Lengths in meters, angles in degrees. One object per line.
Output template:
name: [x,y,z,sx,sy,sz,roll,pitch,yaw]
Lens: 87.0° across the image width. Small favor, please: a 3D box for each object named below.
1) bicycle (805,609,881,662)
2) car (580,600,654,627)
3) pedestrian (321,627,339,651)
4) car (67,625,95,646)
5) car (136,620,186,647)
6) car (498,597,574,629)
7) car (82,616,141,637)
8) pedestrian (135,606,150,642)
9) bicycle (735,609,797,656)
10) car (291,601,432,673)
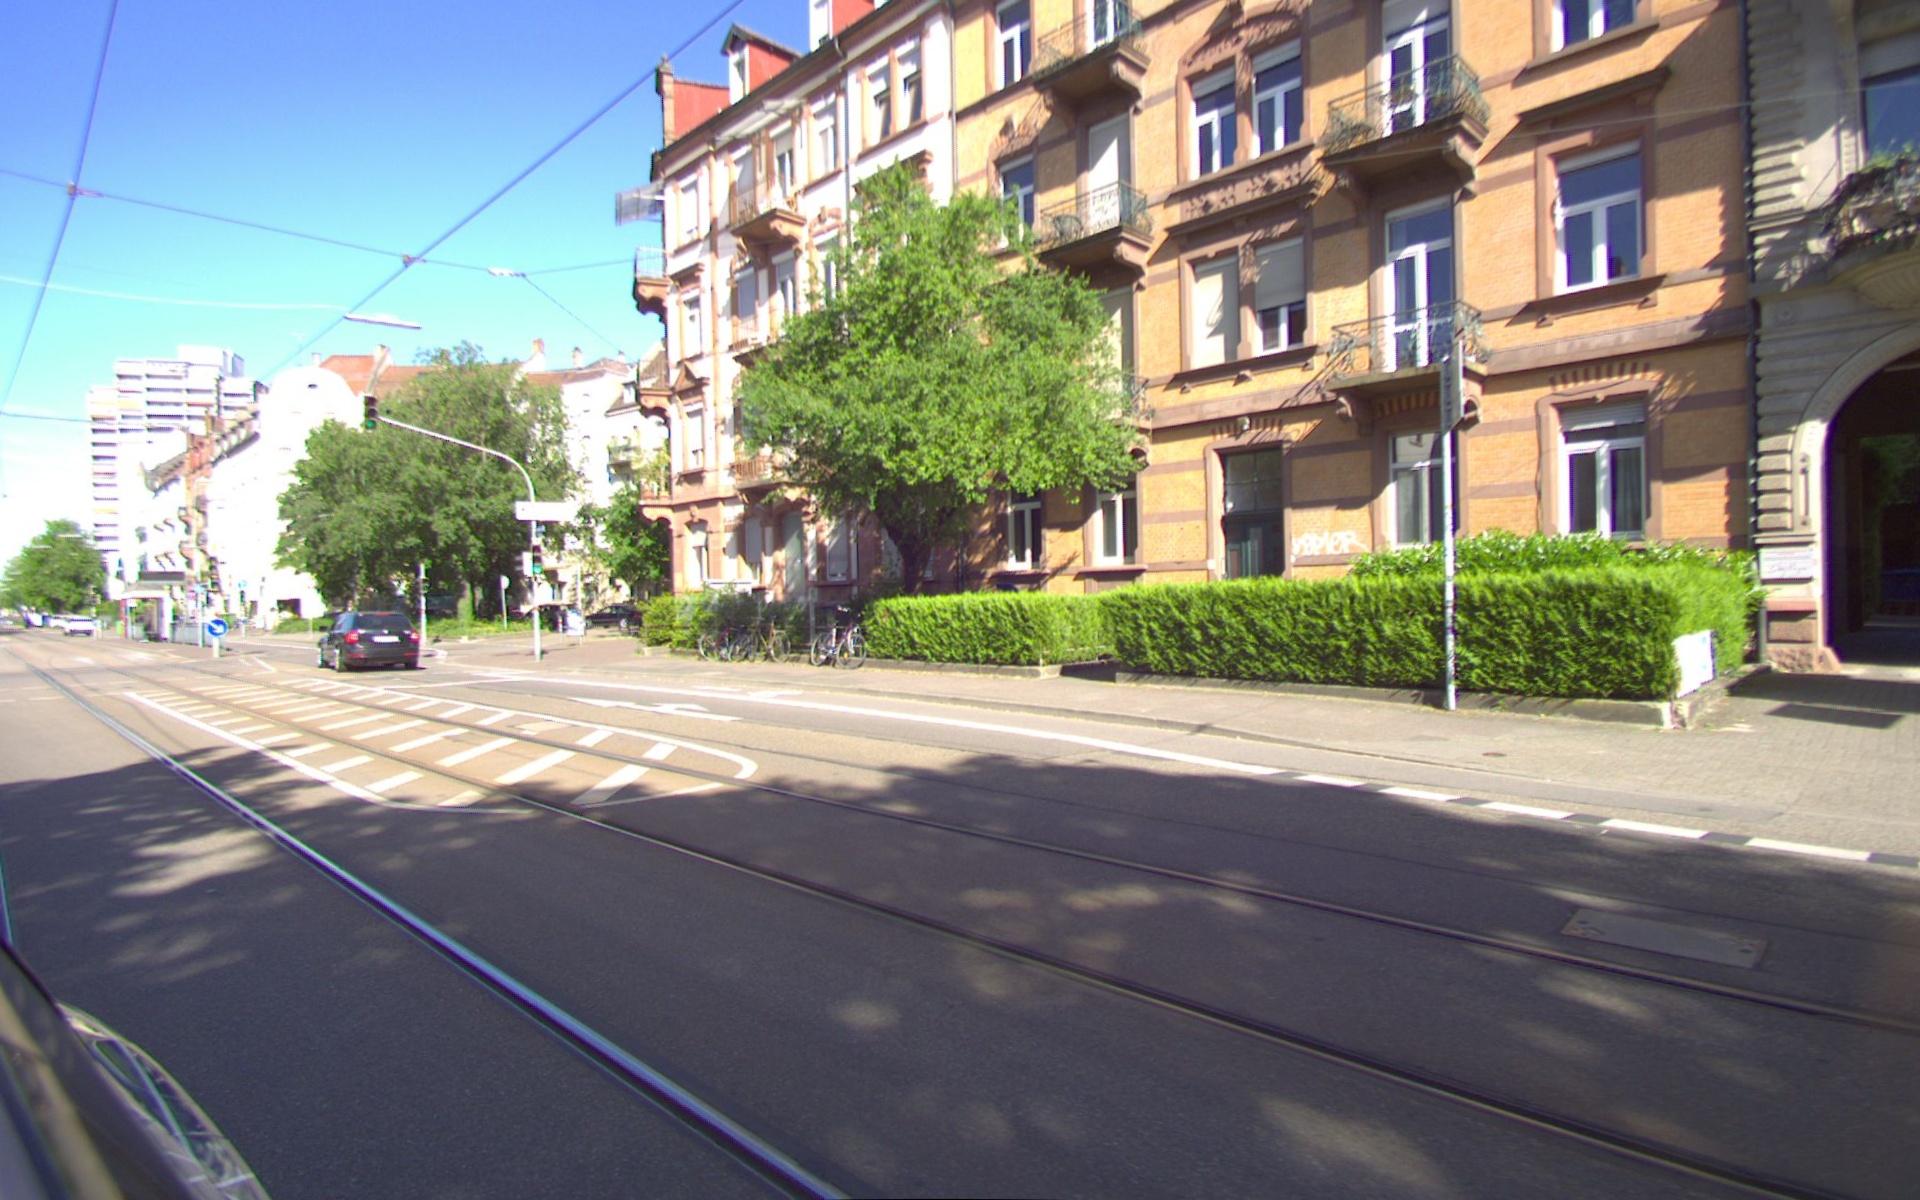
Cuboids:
bicycle: [-2.217,0.649,18.960,0.337,0.933,1.946,-4,1,-40]
car: [-20.374,0.797,60.170,3.987,1.554,1.728,-1,-1,21]
pedestrian: [-35.042,2.163,56.261,0.650,1.291,0.724,-4,1,-45]
car: [-71.814,2.906,82.671,1.670,1.551,3.803,-4,1,-41]
car: [-49.930,2.058,63.228,4.265,1.630,1.876,-1,-1,44]
car: [-26.025,0.782,62.209,3.964,1.709,1.693,-4,1,-38]
car: [-78.053,2.424,93.144,1.817,1.600,3.836,4,5,40]
pedestrian: [-41.399,1.214,51.232,0.673,1.798,0.459,-2,0,44]
bicycle: [-4.112,0.673,21.332,0.337,0.933,1.946,-4,1,-40]
car: [-15.120,0.886,25.437,1.811,1.529,4.970,-5,2,-44]
